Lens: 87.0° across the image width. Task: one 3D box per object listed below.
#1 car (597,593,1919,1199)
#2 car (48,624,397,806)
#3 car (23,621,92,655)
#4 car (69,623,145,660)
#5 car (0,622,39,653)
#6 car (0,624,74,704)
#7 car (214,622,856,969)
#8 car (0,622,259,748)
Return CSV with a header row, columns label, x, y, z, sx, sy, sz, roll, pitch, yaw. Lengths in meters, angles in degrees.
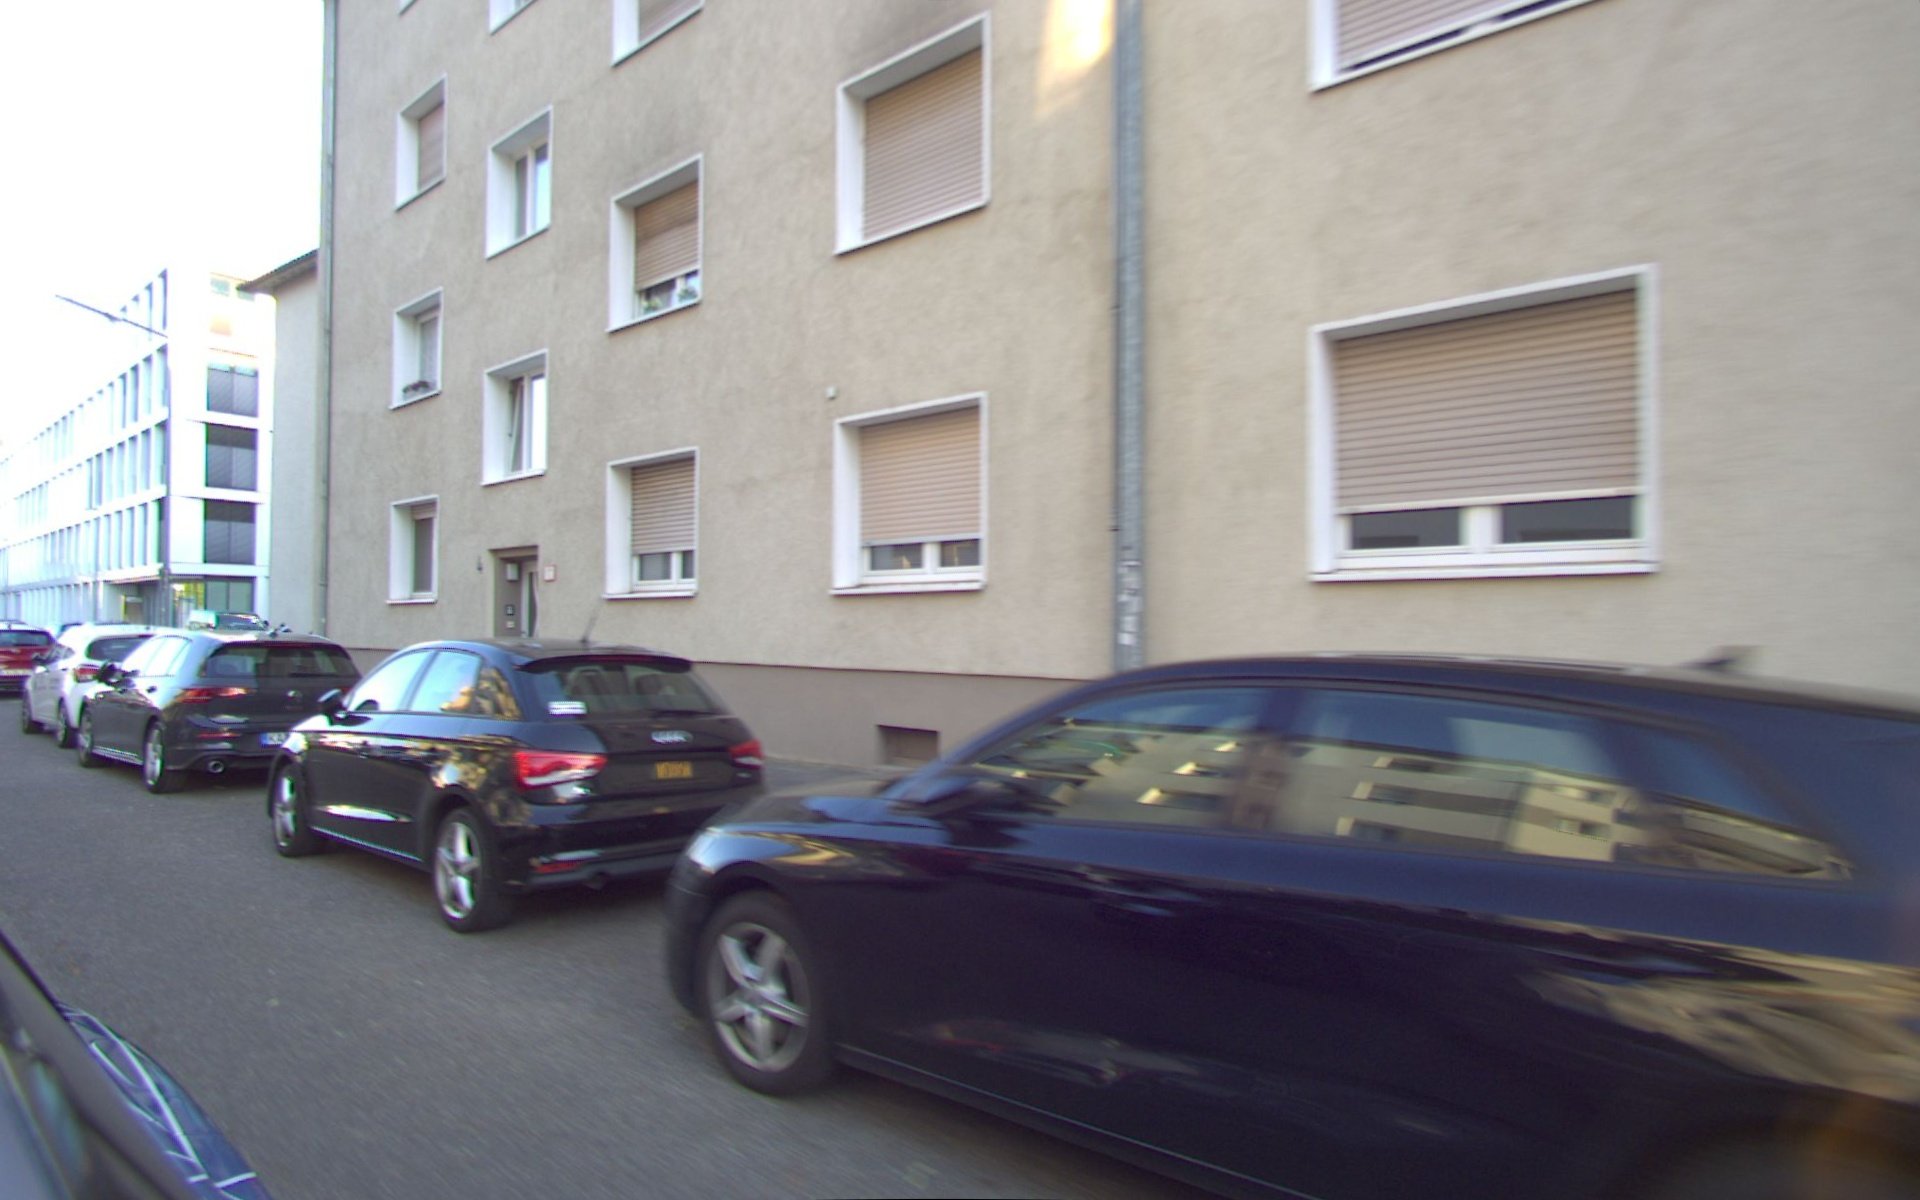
label,x,y,z,sx,sy,sz,roll,pitch,yaw
car,1.037,0.753,2.994,4.426,1.455,1.974,-1,-2,39
car,-7.585,0.983,10.250,4.426,1.455,1.770,-1,-2,39
car,-40.950,1.697,45.905,4.000,1.497,1.972,-1,-2,43
car,-35.947,1.716,42.602,4.000,1.497,1.972,-1,-2,43
car,-48.635,1.893,51.704,4.000,1.530,1.972,-1,-2,43
car,-19.884,1.258,20.646,4.426,1.501,1.974,-1,-2,39
car,-2.920,0.881,6.465,4.428,1.455,1.973,-1,-2,40
car,-11.538,1.042,13.903,4.426,1.455,1.974,-1,-2,39
